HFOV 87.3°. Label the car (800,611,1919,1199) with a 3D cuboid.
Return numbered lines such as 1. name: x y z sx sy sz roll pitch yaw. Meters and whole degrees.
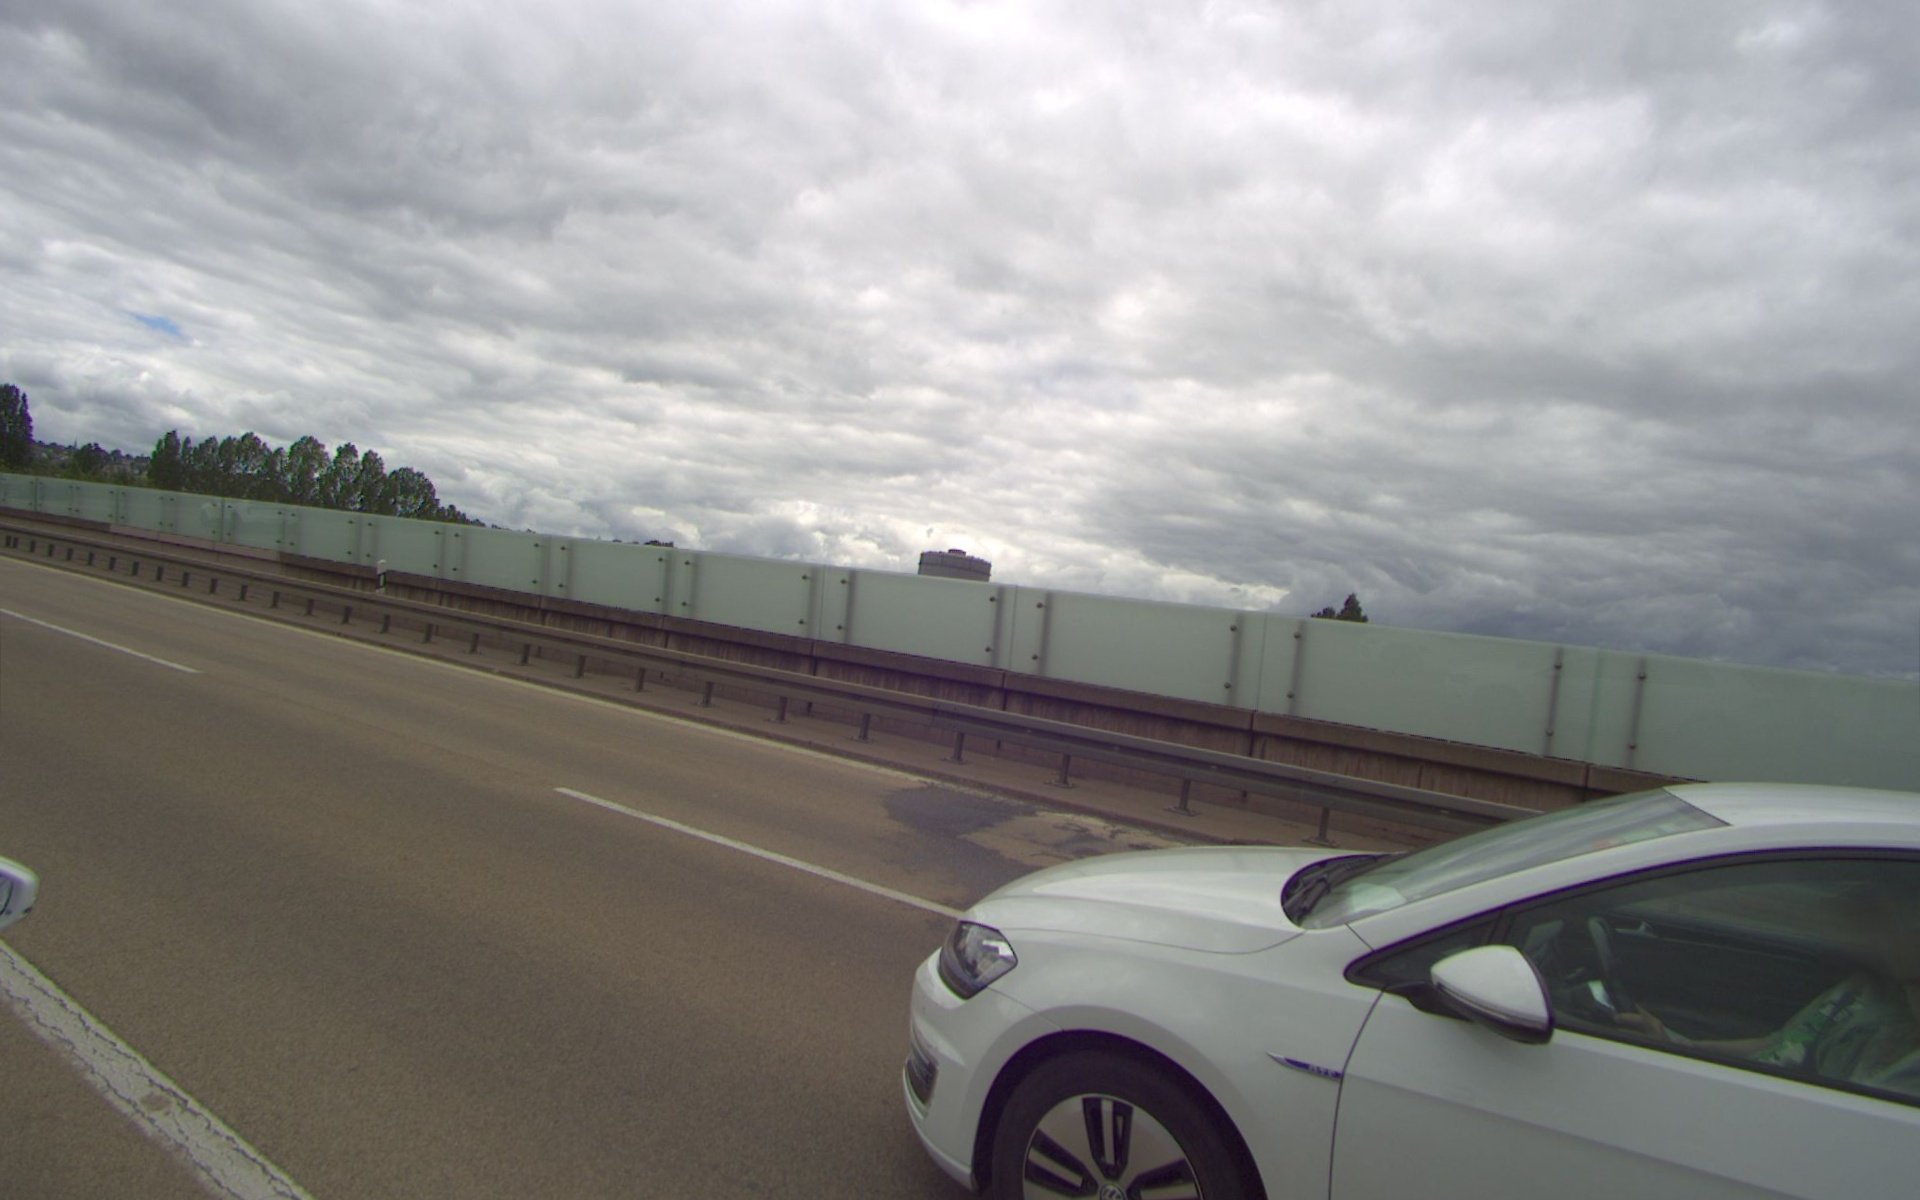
1. car: 1.827 1.044 2.266 4.004 1.469 1.757 7 -1 31
